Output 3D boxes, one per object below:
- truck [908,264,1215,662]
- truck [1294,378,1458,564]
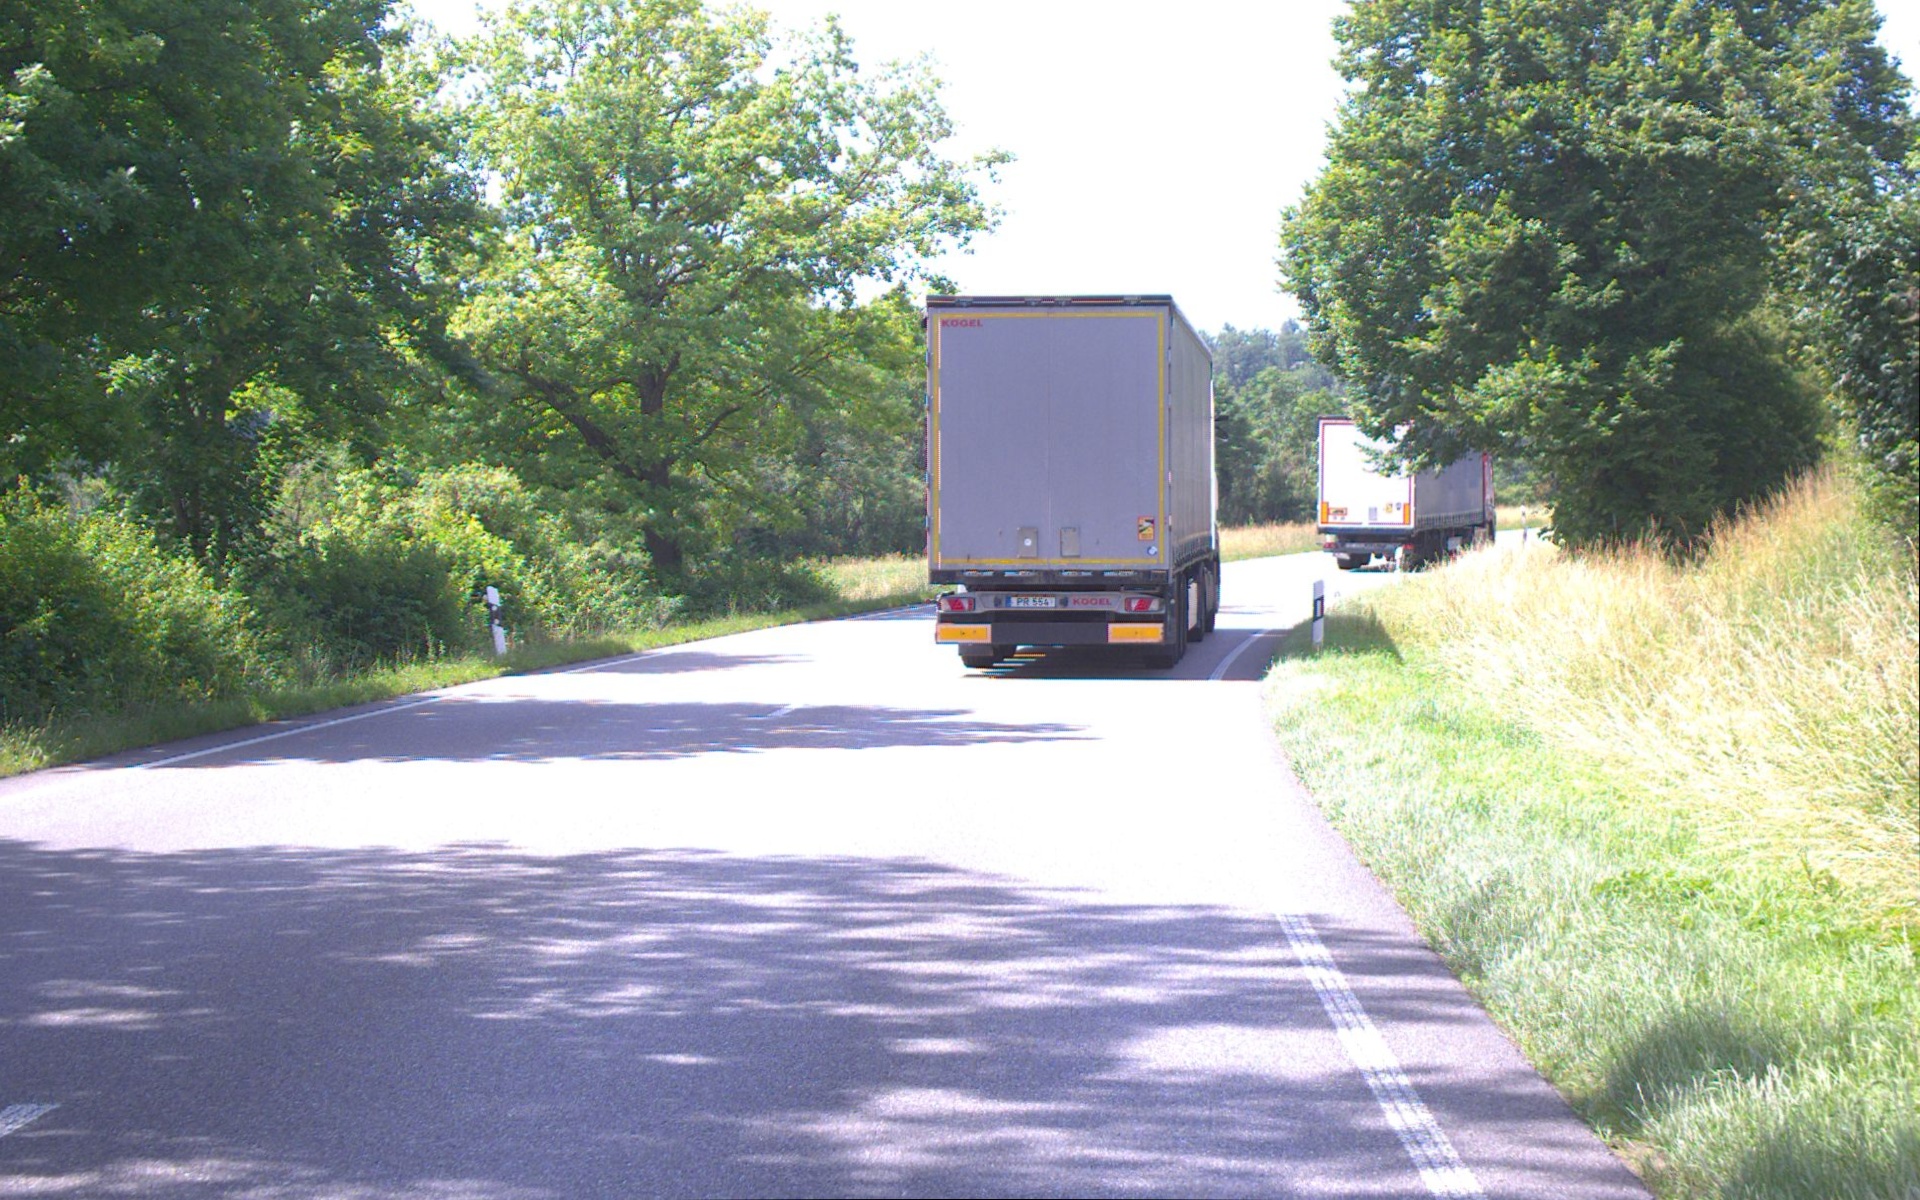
[{"bbox_3d":[1.600,-1.623,42.843,2.802,4.054,15.323,0,2,5],"label":"truck"},{"bbox_3d":[11.826,-3.544,96.086,3.106,4.689,16.582,-1,2,12],"label":"truck"}]
